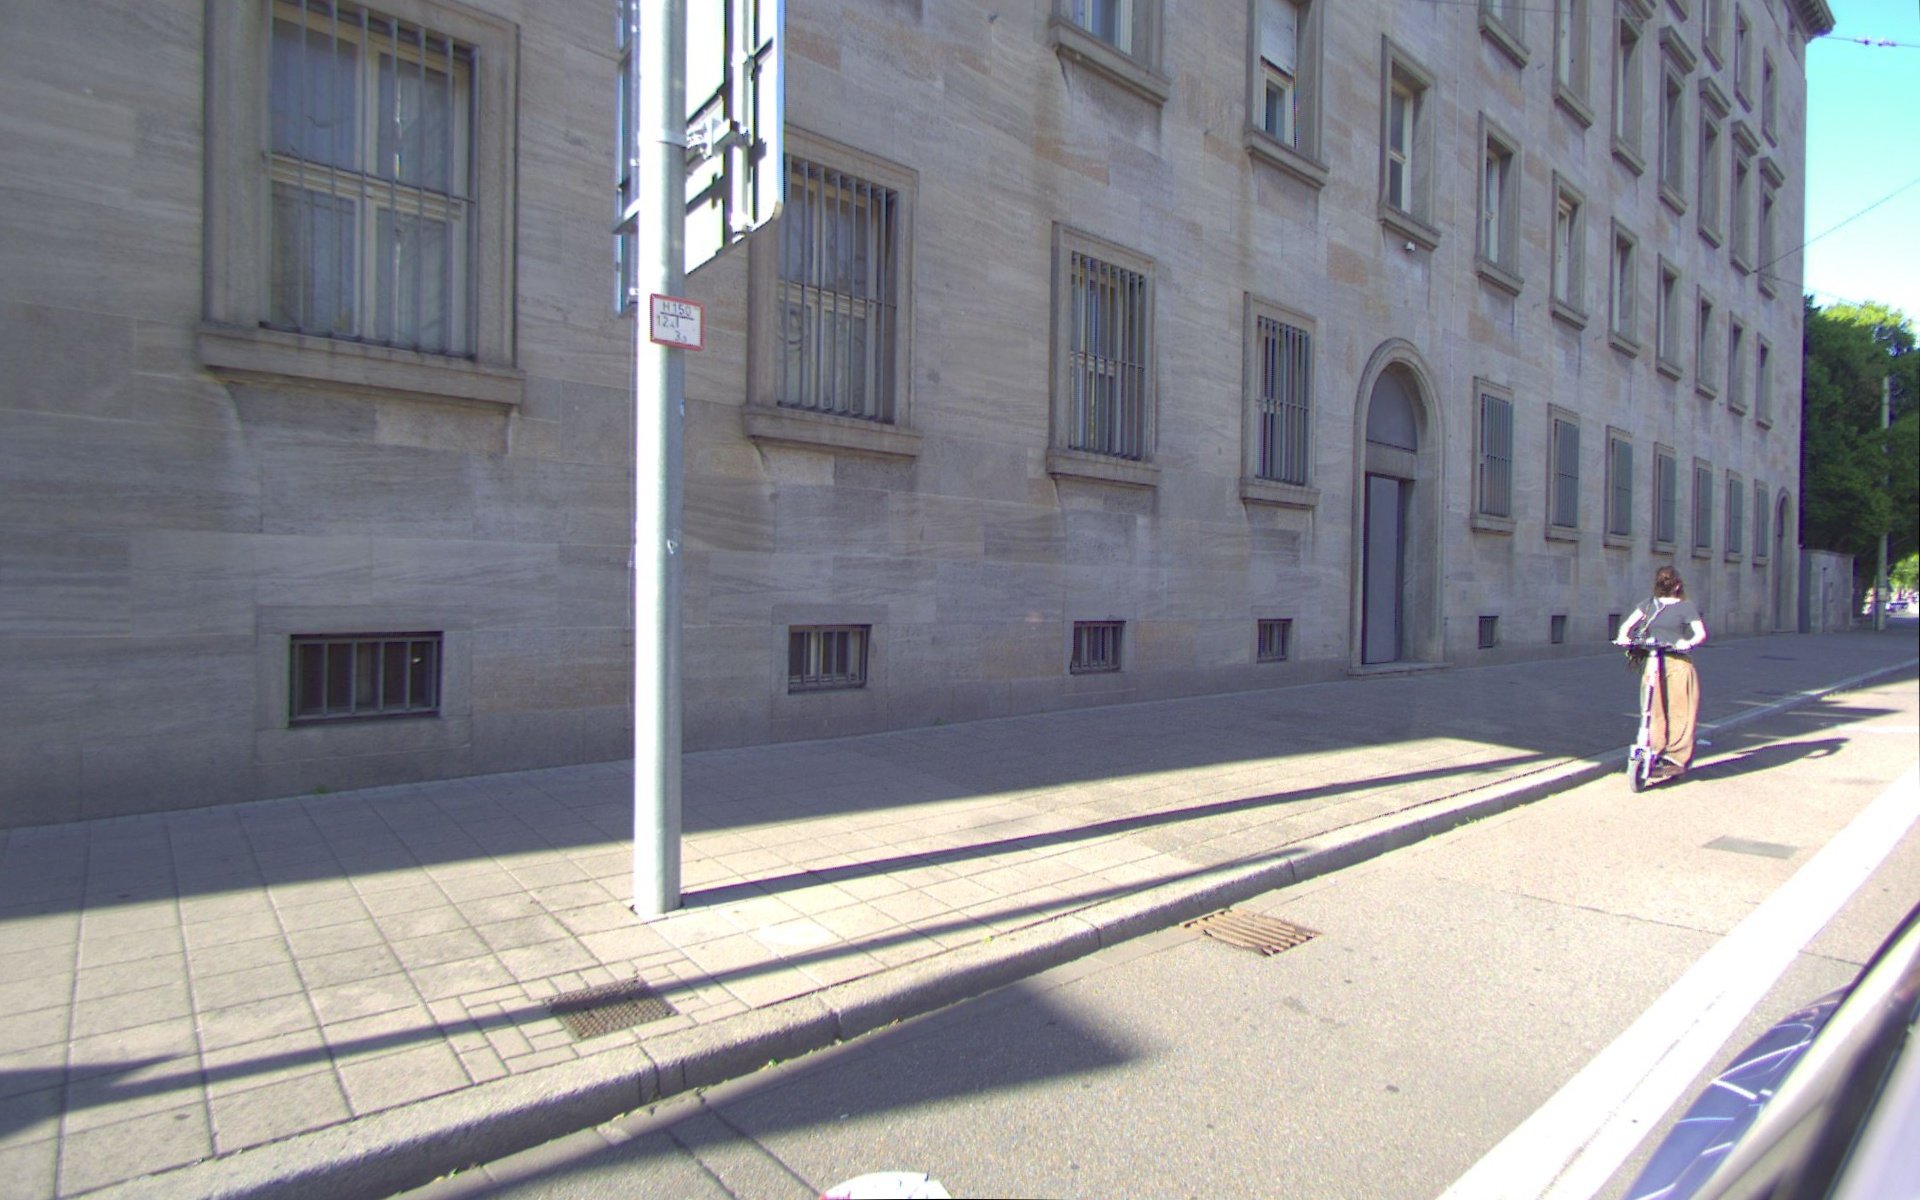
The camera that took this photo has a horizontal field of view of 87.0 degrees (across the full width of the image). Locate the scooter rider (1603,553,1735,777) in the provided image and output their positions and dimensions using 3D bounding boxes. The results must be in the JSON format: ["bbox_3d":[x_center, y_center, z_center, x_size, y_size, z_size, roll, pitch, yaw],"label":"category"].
[{"bbox_3d":[5.656,0.479,8.084,0.547,1.692,0.730,0,1,-41],"label":"scooter rider"}]

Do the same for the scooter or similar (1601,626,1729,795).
[{"bbox_3d":[5.656,0.828,8.095,1.305,1.200,0.535,0,1,-42],"label":"scooter or similar"}]
